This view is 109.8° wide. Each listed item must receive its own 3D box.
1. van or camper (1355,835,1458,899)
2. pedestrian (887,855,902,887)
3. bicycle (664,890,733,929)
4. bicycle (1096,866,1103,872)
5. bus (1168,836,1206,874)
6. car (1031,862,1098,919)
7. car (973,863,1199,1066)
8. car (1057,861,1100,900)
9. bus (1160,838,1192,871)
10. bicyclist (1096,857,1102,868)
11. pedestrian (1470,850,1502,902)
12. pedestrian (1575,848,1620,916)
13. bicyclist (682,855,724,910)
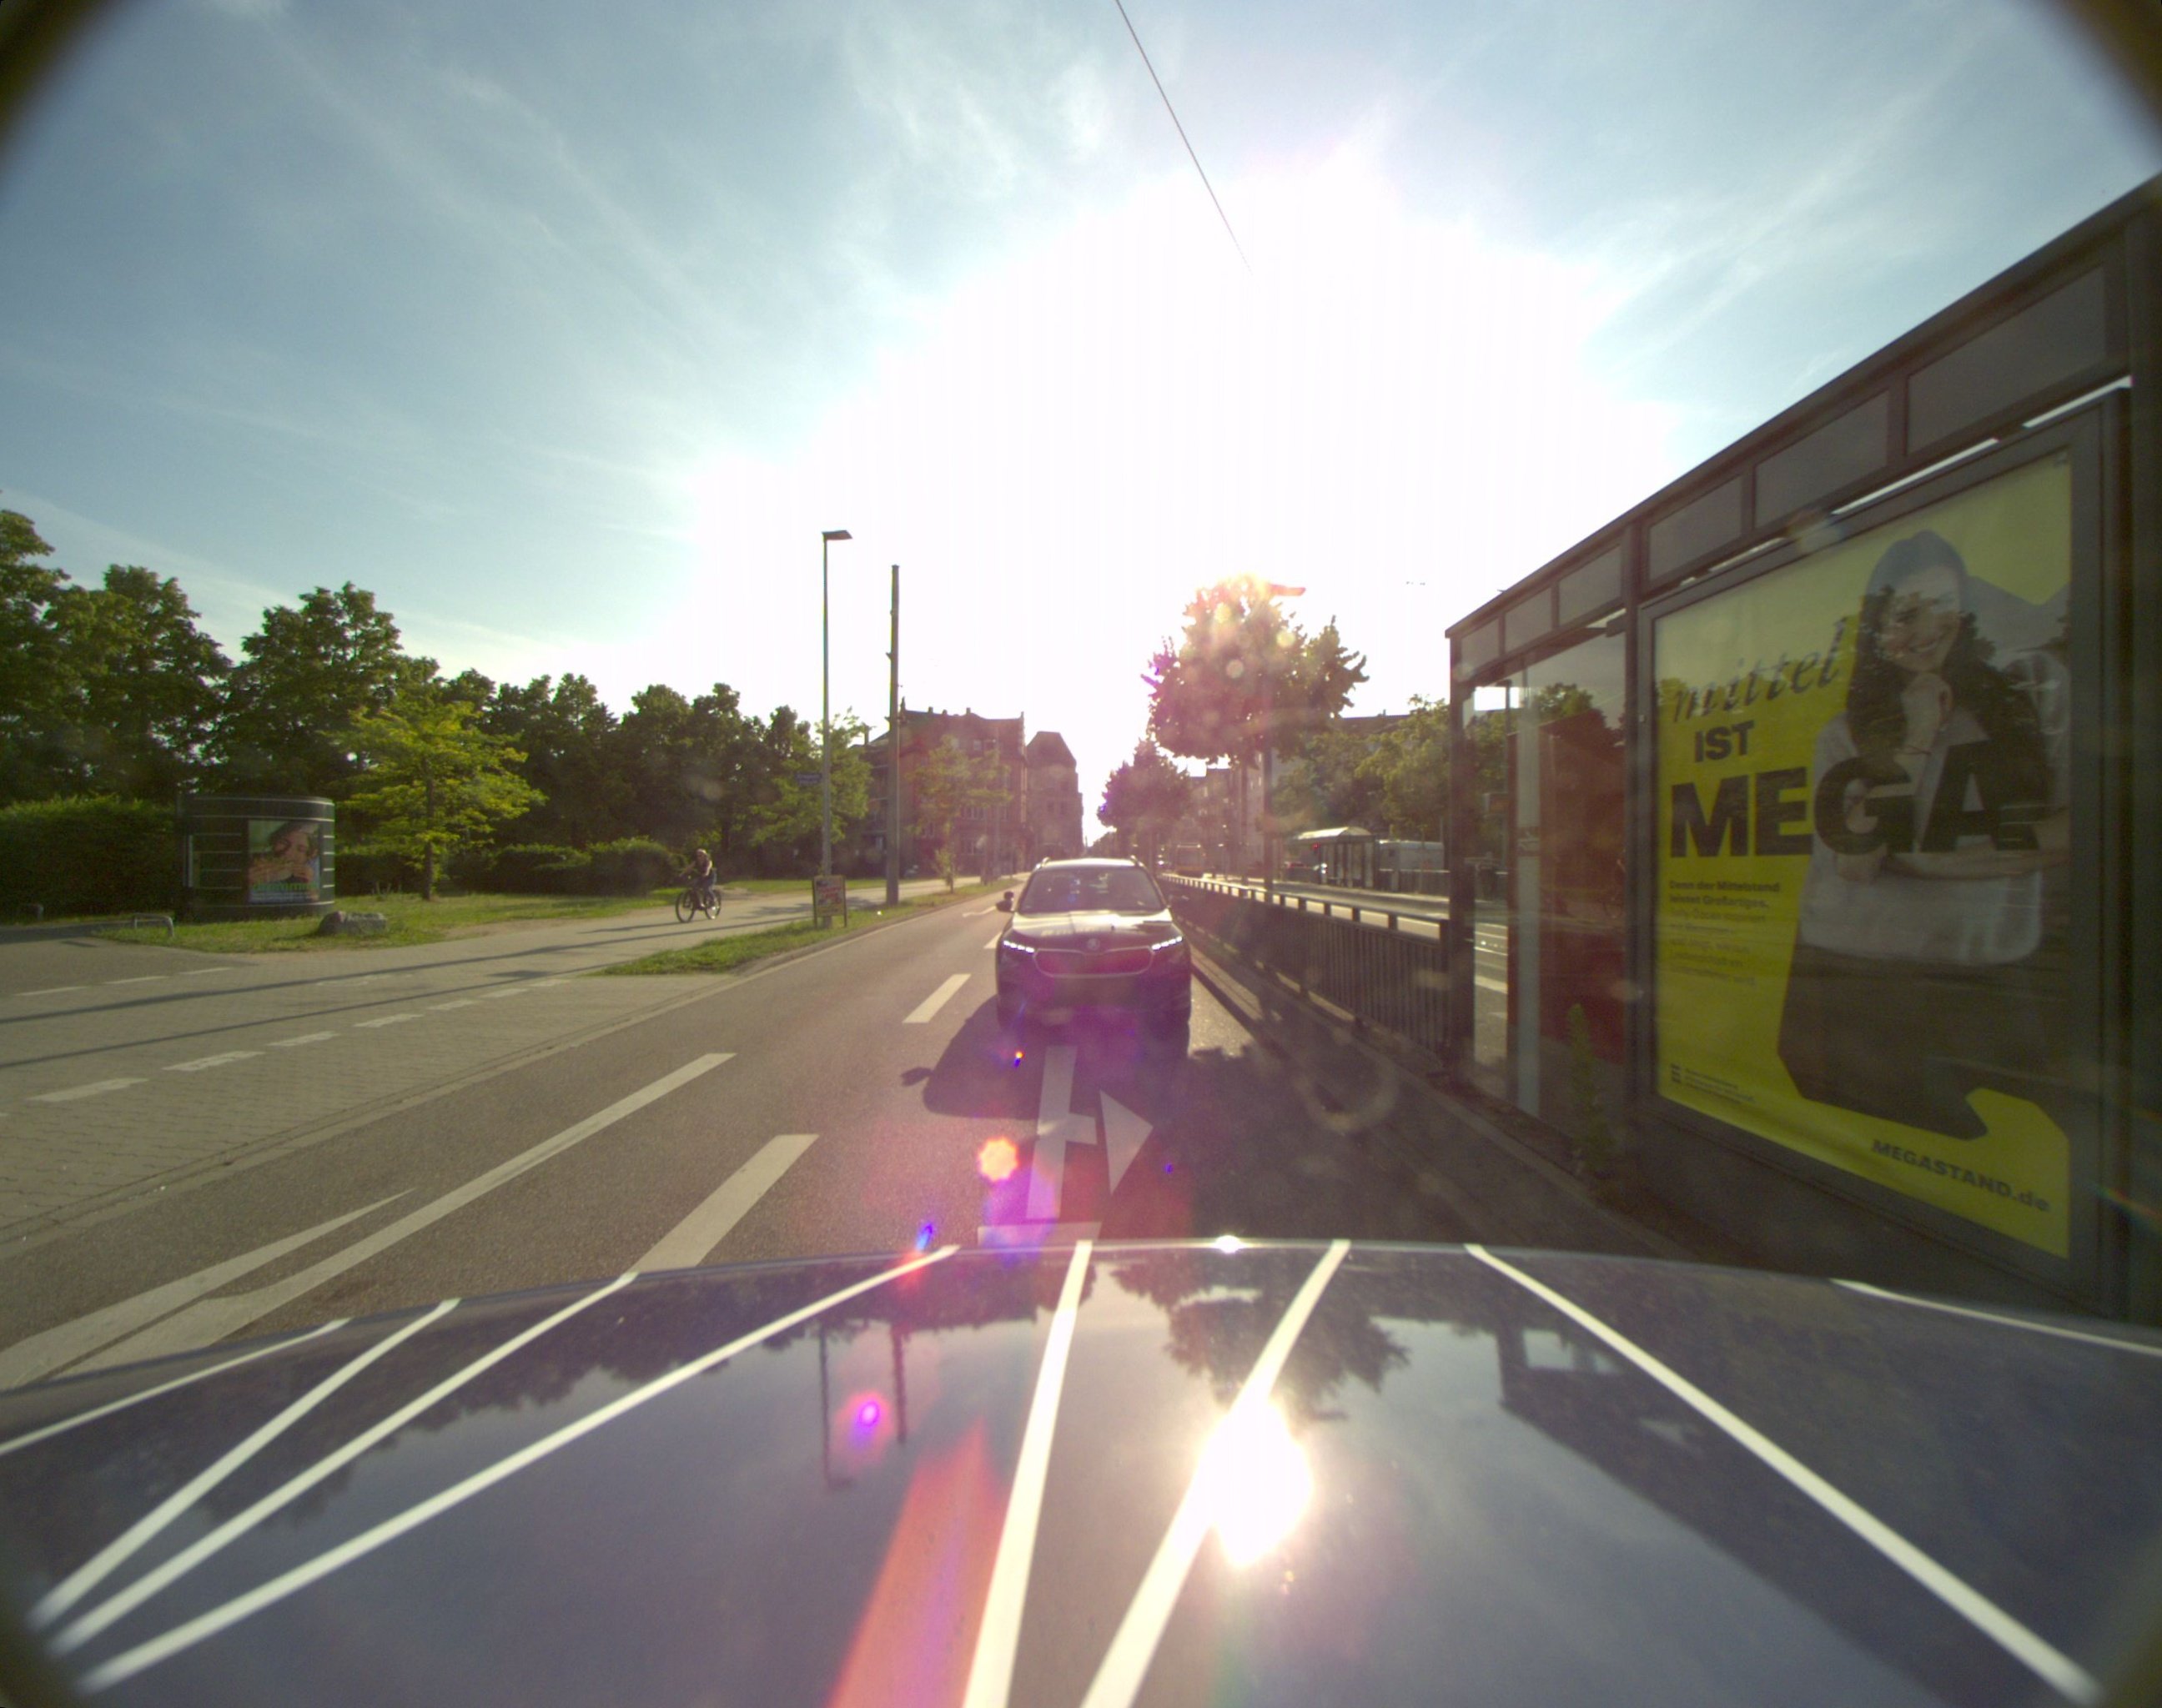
[{"bbox_3d":[16.595,0.595,39.247,2.527,2.951,6.410,-2,1,0],"label":"van or camper"},{"bbox_3d":[-10.169,0.922,41.386,0.621,1.675,0.618,-2,0,0],"label":"pedestrian"},{"bbox_3d":[-8.823,1.255,17.618,0.496,0.753,2.168,1,0,0],"label":"bicycle"},{"bbox_3d":[2.444,1.966,101.697,0.566,0.789,2.043,0,0,12],"label":"bicycle"},{"bbox_3d":[10.470,0.060,75.745,2.437,3.415,9.260,-2,1,0],"label":"bus"},{"bbox_3d":[-0.419,1.002,22.544,1.756,1.451,4.235,-1,0,0],"label":"car"},{"bbox_3d":[0.061,0.903,8.154,1.756,1.534,4.235,-1,0,0],"label":"car"},{"bbox_3d":[-0.090,1.123,33.668,1.756,1.534,4.235,-1,0,0],"label":"car"},{"bbox_3d":[10.533,-0.026,84.998,2.437,3.415,9.260,-2,1,0],"label":"bus"},{"bbox_3d":[2.424,1.143,101.709,0.688,1.445,1.112,0,0,11],"label":"bicyclist"},{"bbox_3d":[13.266,0.713,24.894,0.621,1.675,0.618,3,0,0],"label":"pedestrian"},{"bbox_3d":[13.056,0.693,19.208,0.621,1.675,0.618,3,0,0],"label":"pedestrian"},{"bbox_3d":[-8.816,0.645,17.740,0.535,1.255,0.869,0,0,0],"label":"bicyclist"}]
